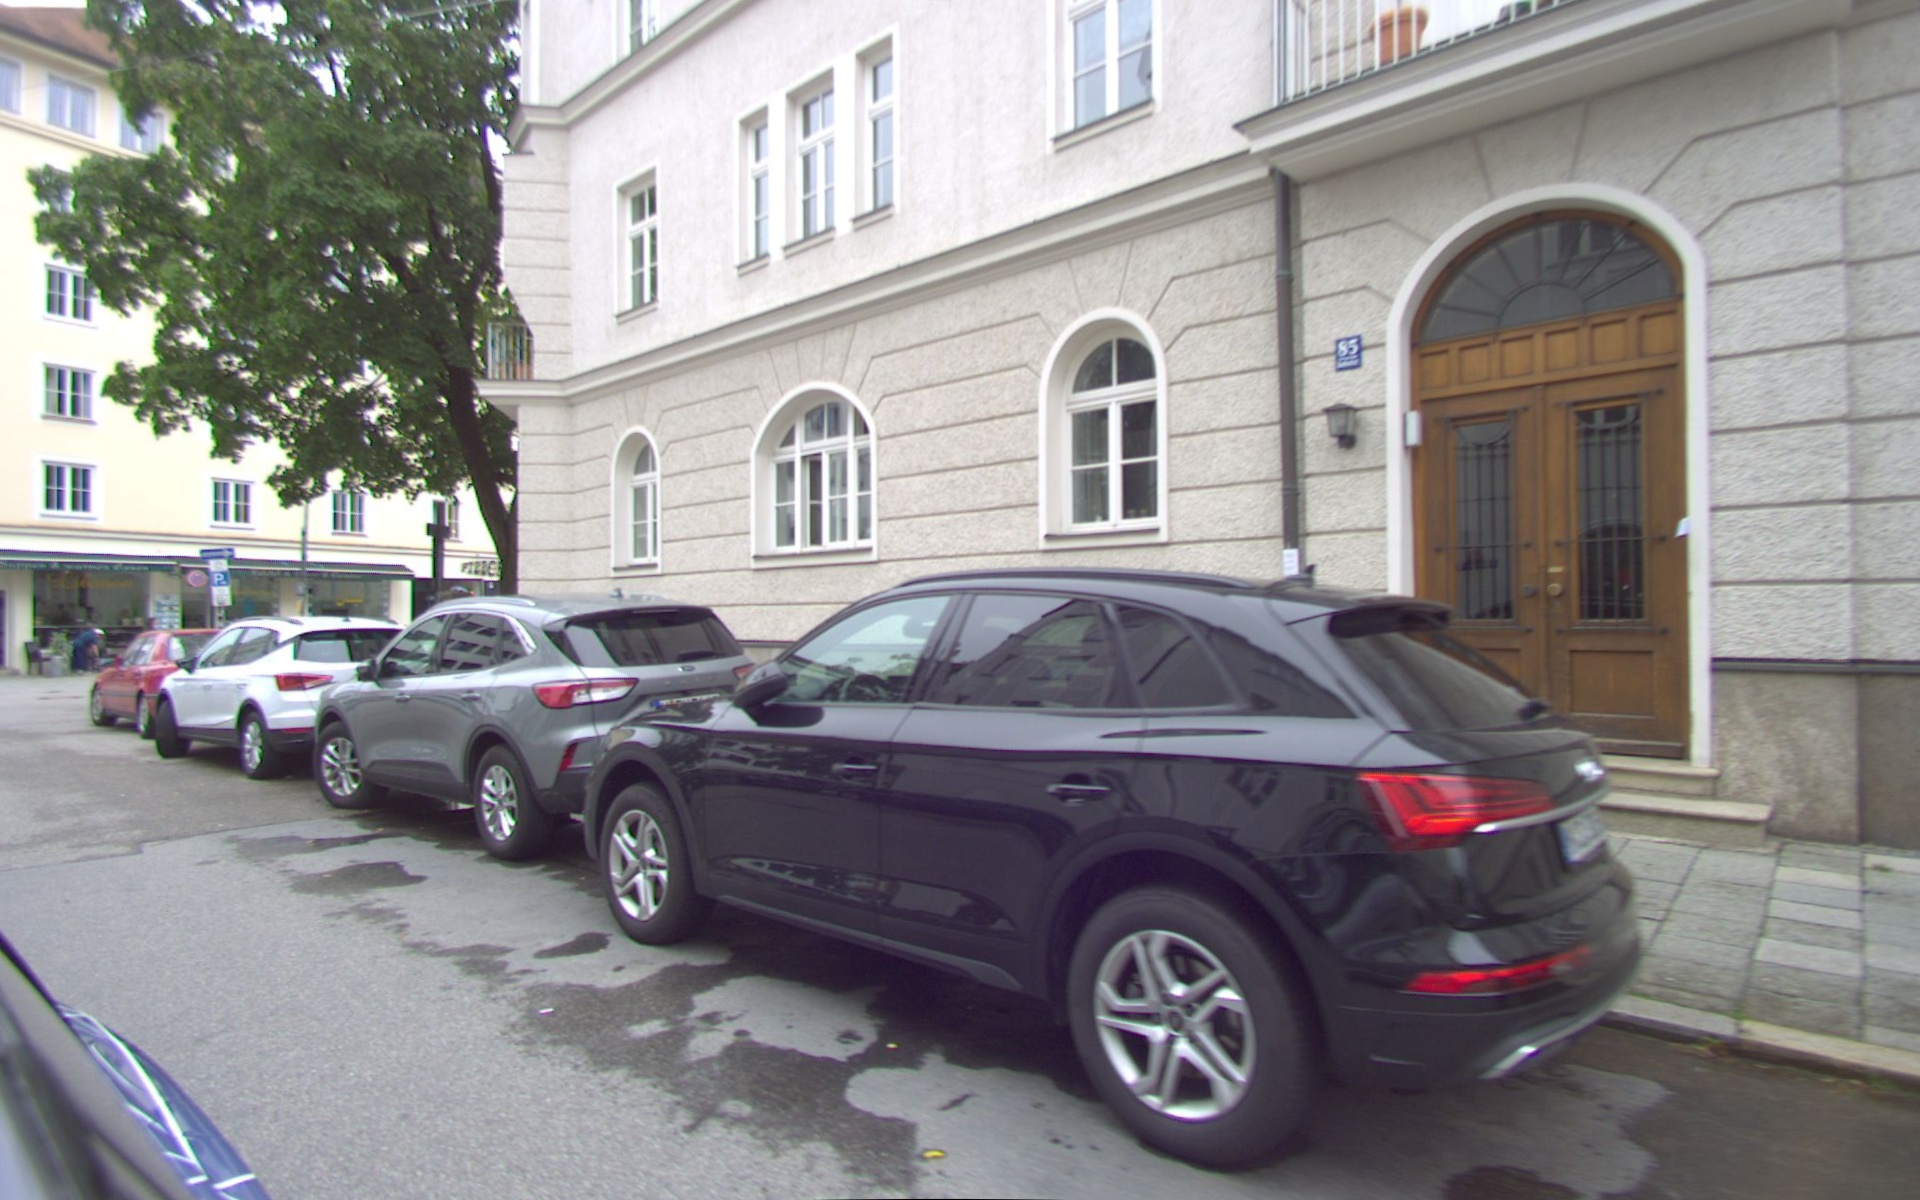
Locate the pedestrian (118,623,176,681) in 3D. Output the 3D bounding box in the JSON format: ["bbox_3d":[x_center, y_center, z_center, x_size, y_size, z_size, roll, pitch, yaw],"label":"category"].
[{"bbox_3d":[-24.162,1.524,30.095,0.868,1.689,1.113,-2,-2,31],"label":"pedestrian"}]

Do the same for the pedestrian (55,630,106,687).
[{"bbox_3d":[-25.835,1.715,29.740,0.907,1.623,0.778,0,-2,-20],"label":"pedestrian"}]

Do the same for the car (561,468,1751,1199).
[{"bbox_3d":[0.313,0.630,4.122,4.432,1.612,1.856,-2,-2,42],"label":"car"}]

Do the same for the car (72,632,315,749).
[{"bbox_3d":[-10.819,1.175,14.179,4.473,1.404,1.664,-2,-3,39],"label":"car"}]

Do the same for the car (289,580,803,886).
[{"bbox_3d":[-3.290,0.810,7.651,4.208,1.690,1.818,-2,-2,39],"label":"car"}]

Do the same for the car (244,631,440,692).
[{"bbox_3d":[-17.846,1.745,29.451,2.020,1.494,4.445,-7,-4,29],"label":"car"}]

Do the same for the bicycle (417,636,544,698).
[{"bbox_3d":[-9.606,1.332,20.243,2.635,1.172,0.800,-2,-2,25],"label":"bicycle"}]

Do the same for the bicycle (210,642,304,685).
[{"bbox_3d":[-20.055,1.797,28.939,2.117,1.211,0.812,2,-3,-30],"label":"bicycle"}]

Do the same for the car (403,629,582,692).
[{"bbox_3d":[-12.234,1.538,26.720,1.788,1.469,3.957,0,-1,31],"label":"car"}]

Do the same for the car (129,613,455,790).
[{"bbox_3d":[-7.253,0.946,10.868,3.944,1.580,1.679,-1,-2,37],"label":"car"}]
